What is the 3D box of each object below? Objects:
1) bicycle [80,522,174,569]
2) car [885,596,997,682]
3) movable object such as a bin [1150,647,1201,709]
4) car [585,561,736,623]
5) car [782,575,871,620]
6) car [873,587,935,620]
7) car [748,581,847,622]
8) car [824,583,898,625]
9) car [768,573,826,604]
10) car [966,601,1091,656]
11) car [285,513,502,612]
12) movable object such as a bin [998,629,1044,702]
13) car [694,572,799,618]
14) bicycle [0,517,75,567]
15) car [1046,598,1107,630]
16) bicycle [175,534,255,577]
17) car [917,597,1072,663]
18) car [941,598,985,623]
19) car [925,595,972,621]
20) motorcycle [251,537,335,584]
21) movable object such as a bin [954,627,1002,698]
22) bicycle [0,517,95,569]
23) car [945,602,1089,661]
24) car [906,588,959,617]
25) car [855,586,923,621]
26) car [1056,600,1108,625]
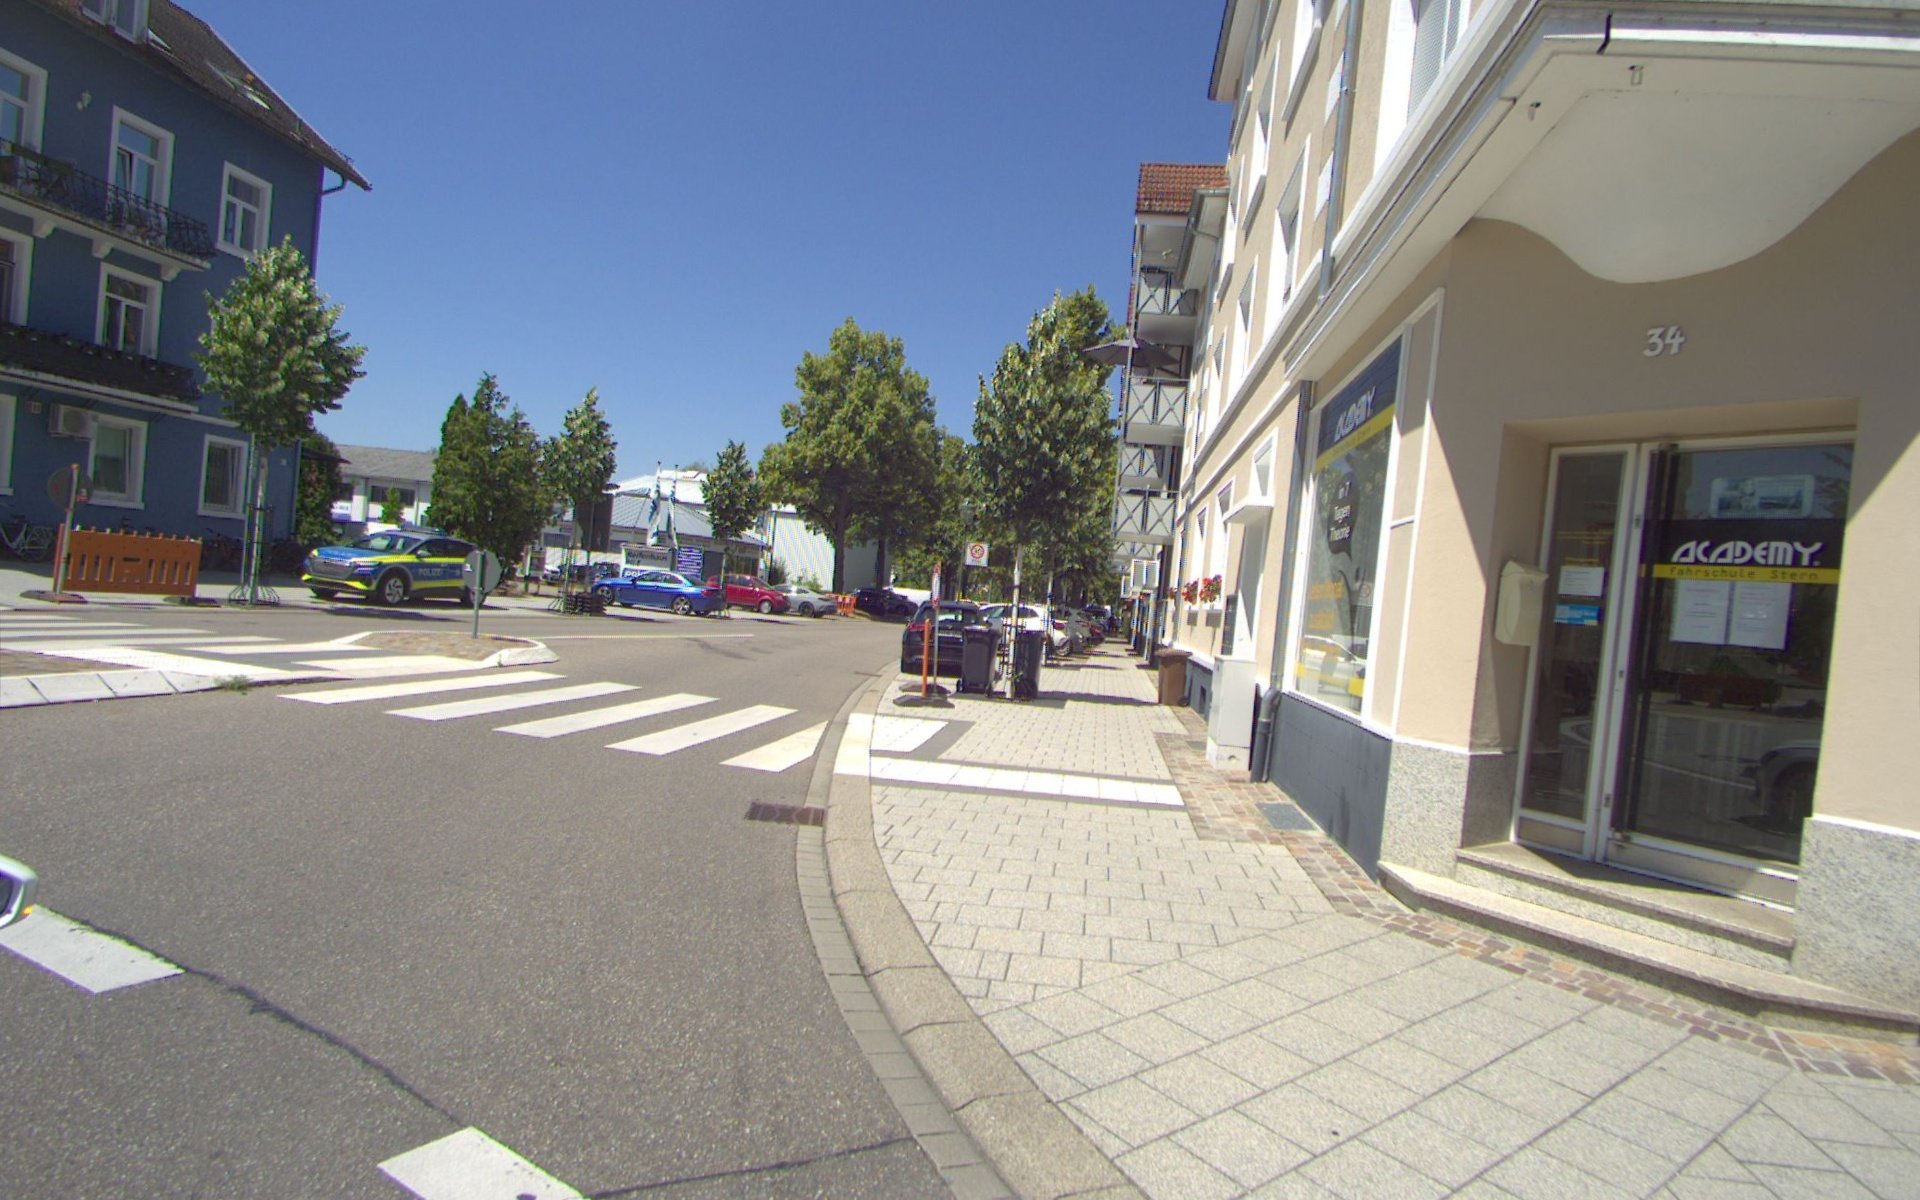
[{"bbox_3d":[-19.380,-1.250,23.444,0.472,0.918,1.713,8,0,10],"label":"bicycle"},{"bbox_3d":[-0.501,0.725,20.686,1.872,1.454,4.167,4,0,-6],"label":"car"},{"bbox_3d":[3.613,1.308,16.909,0.644,0.947,0.579,4,1,-2],"label":"movable object such as a bin"},{"bbox_3d":[-10.064,-0.249,33.988,4.384,1.497,1.909,6,-3,6],"label":"car"},{"bbox_3d":[-6.870,-0.123,52.010,3.924,1.805,2.000,7,1,13],"label":"car"},{"bbox_3d":[-3.994,0.241,71.598,3.923,1.885,1.998,6,3,9],"label":"car"},{"bbox_3d":[-7.435,0.080,46.274,3.923,1.465,2.001,6,0,9],"label":"car"},{"bbox_3d":[-5.957,0.250,60.802,3.923,2.038,2.002,6,-1,10],"label":"car"},{"bbox_3d":[-12.779,-0.873,78.986,3.923,1.882,2.002,7,-1,11],"label":"car"},{"bbox_3d":[2.516,1.001,36.256,4.213,1.596,1.907,4,0,10],"label":"car"},{"bbox_3d":[-12.626,-0.756,22.787,1.870,1.765,4.251,7,0,10],"label":"car"},{"bbox_3d":[0.981,1.037,16.109,0.630,1.068,0.704,5,1,5],"label":"movable object such as a bin"},{"bbox_3d":[-9.301,-0.195,44.037,3.923,1.549,2.001,6,0,9],"label":"car"},{"bbox_3d":[-19.885,-1.237,21.325,0.431,0.918,1.713,8,0,10],"label":"bicycle"},{"bbox_3d":[9.284,1.090,80.230,4.652,2.039,2.000,6,0,7],"label":"car"},{"bbox_3d":[-19.051,-1.120,25.764,0.472,0.918,1.713,8,0,10],"label":"bicycle"},{"bbox_3d":[1.057,0.844,29.328,4.213,1.543,1.907,4,0,10],"label":"car"},{"bbox_3d":[0.313,0.983,96.519,3.924,1.885,1.998,6,3,4],"label":"car"},{"bbox_3d":[-1.042,0.668,90.916,3.924,1.885,1.998,6,3,4],"label":"car"},{"bbox_3d":[-17.810,-1.032,26.926,0.576,1.065,1.907,8,0,13],"label":"motorcycle"},{"bbox_3d":[0.305,0.994,16.237,0.658,1.068,0.704,4,1,5],"label":"movable object such as a bin"},{"bbox_3d":[-19.413,-1.199,21.291,0.431,0.918,1.713,8,0,10],"label":"bicycle"},{"bbox_3d":[1.826,0.955,31.335,4.213,1.454,1.907,4,0,10],"label":"car"},{"bbox_3d":[-2.162,0.204,79.897,3.924,1.885,1.998,6,3,4],"label":"car"},{"bbox_3d":[-4.606,0.207,65.796,3.923,1.885,1.998,6,3,9],"label":"car"},{"bbox_3d":[12.650,1.343,104.677,5.173,2.039,2.237,6,0,7],"label":"car"}]
